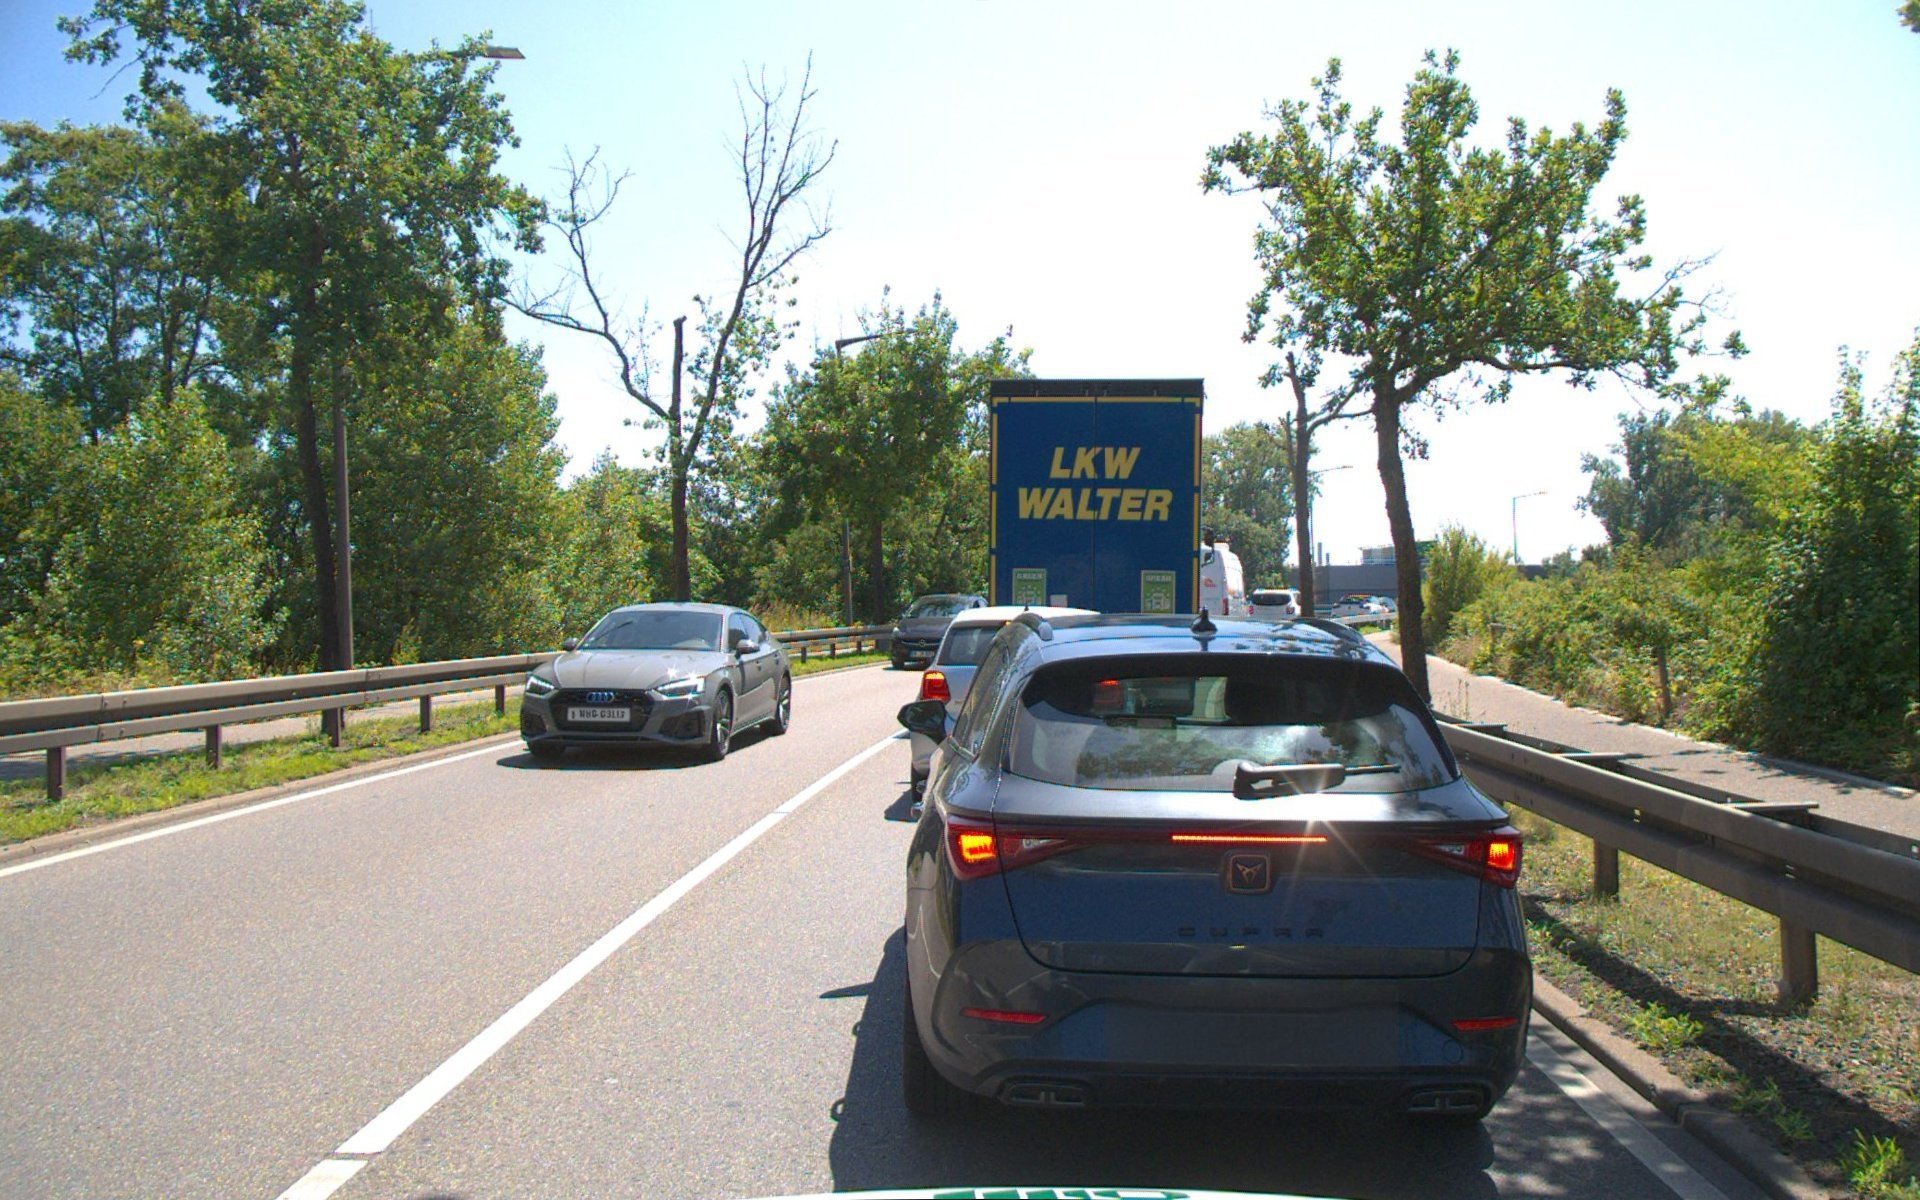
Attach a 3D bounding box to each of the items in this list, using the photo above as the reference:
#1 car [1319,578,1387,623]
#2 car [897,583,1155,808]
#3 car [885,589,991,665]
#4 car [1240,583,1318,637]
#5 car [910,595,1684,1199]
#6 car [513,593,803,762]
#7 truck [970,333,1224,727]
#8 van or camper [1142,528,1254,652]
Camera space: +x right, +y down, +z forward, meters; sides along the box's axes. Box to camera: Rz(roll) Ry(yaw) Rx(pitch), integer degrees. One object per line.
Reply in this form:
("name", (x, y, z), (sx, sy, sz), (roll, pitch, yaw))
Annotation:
("car", (16.780, 0.041, 70.485), (1.954, 1.840, 4.843), (1, 0, 24))
("car", (0.497, 0.664, 13.522), (1.772, 1.534, 4.000), (1, 0, 1))
("car", (-0.410, 0.534, 34.706), (1.635, 1.491, 3.823), (1, 0, 8))
("car", (10.914, 0.322, 56.342), (1.952, 1.742, 4.621), (1, 0, 19))
("car", (0.738, 0.729, 5.612), (1.708, 1.457, 3.879), (1, 0, 0))
("car", (-2.826, 0.666, 16.486), (1.722, 1.420, 4.408), (1, 0, 5))
("truck", (2.637, -0.817, 27.539), (2.887, 4.526, 16.811), (1, 0, 7))
("van or camper", (6.416, -0.244, 44.002), (2.414, 3.051, 6.091), (1, 0, 13))
